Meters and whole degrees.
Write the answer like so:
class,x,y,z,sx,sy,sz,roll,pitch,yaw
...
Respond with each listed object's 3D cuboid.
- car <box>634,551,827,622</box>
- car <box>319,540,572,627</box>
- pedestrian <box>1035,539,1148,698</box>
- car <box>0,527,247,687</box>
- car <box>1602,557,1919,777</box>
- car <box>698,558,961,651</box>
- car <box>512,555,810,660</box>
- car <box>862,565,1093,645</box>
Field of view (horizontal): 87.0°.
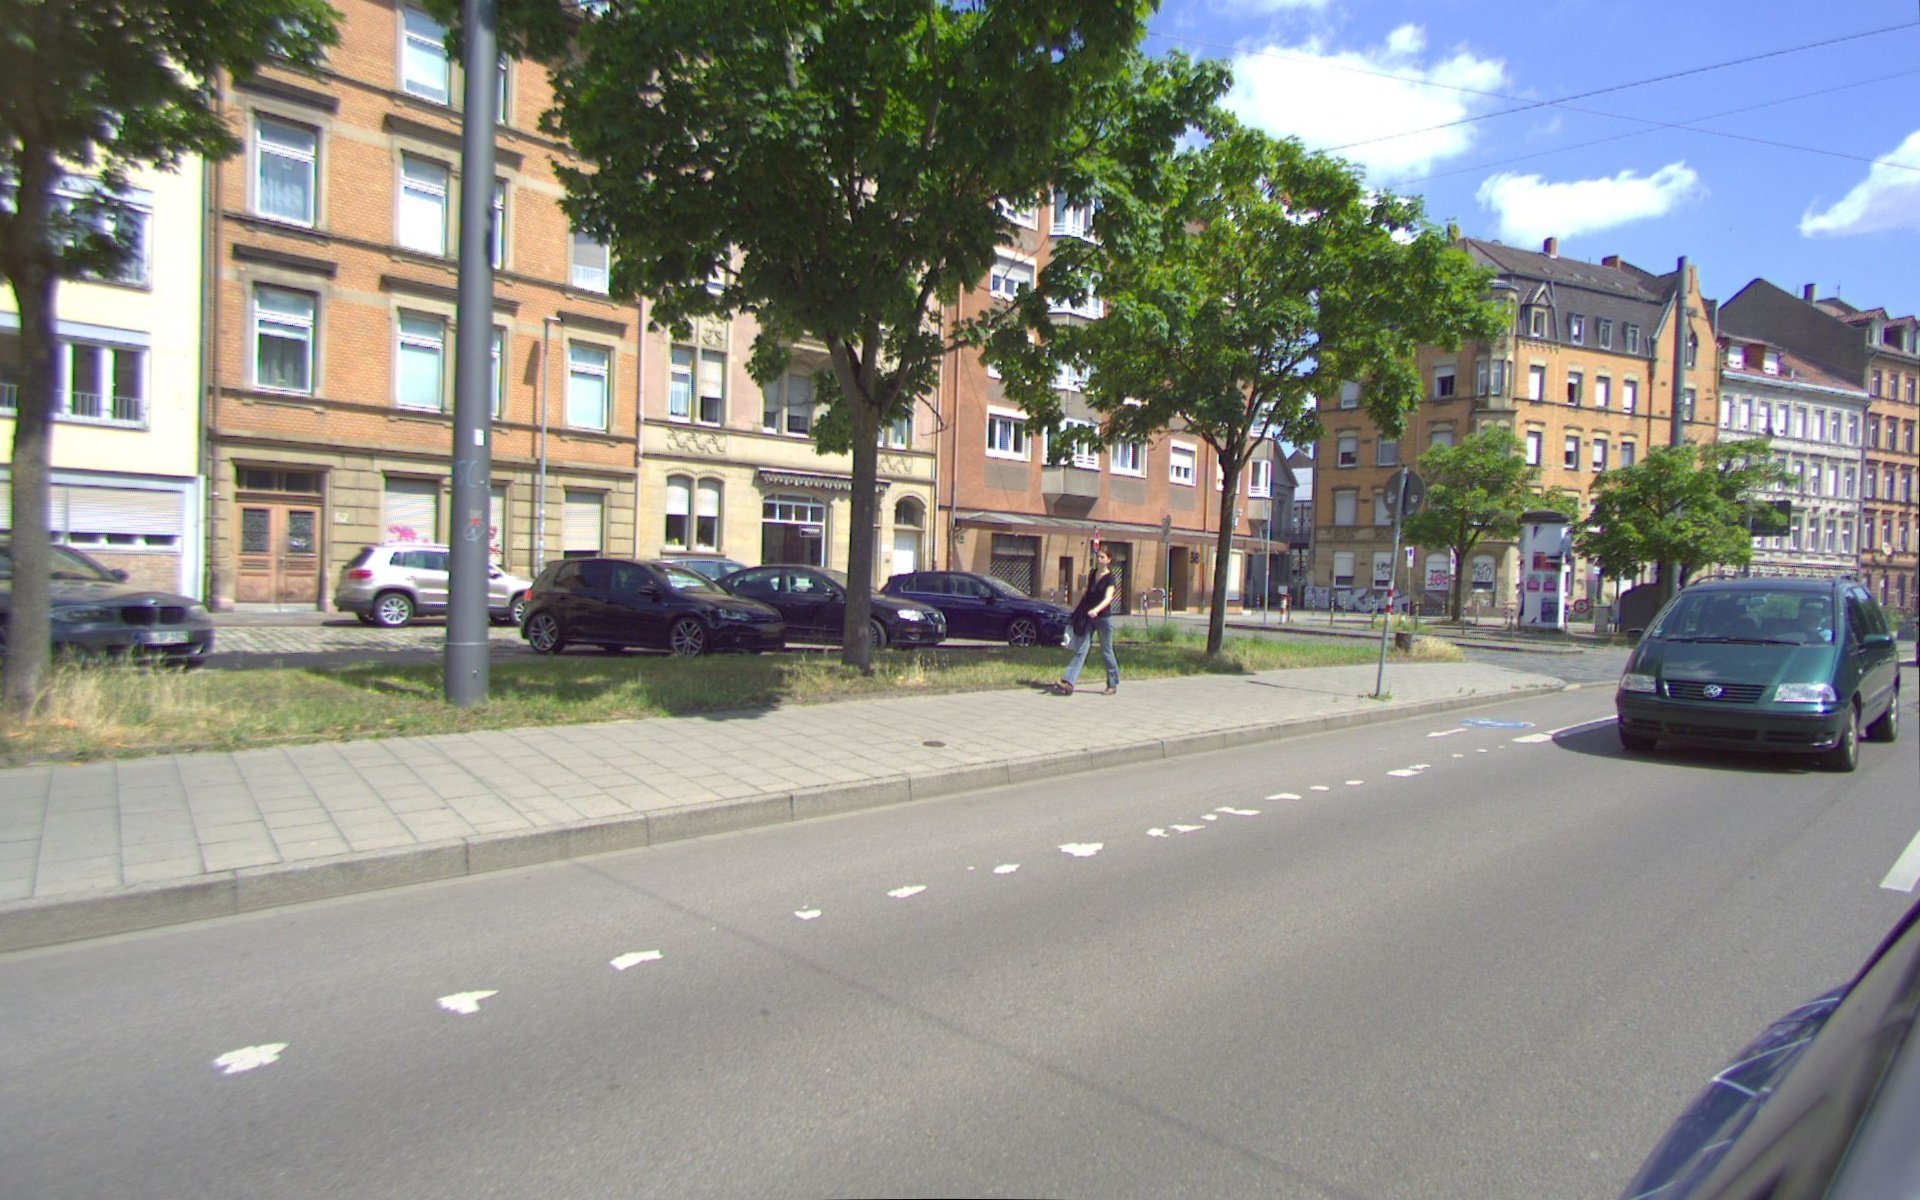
class,x,y,z,sx,sy,sz,roll,pitch,yaw
car,-5.731,-0.347,25.531,4.414,1.635,1.837,0,1,-38
car,-10.667,-0.336,21.169,4.417,1.635,1.835,0,1,-41
pedestrian,1.522,0.188,11.675,1.027,1.724,0.701,0,4,-42
car,-9.727,0.014,10.204,4.205,1.397,1.845,1,1,13
car,8.537,0.496,10.505,4.944,1.778,1.822,-1,2,-41
car,-2.137,0.034,16.966,3.944,1.397,1.952,1,1,17
car,-4.453,0.051,15.175,3.952,1.397,1.948,1,1,21
car,0.324,0.046,19.204,3.961,1.371,1.943,1,1,27
